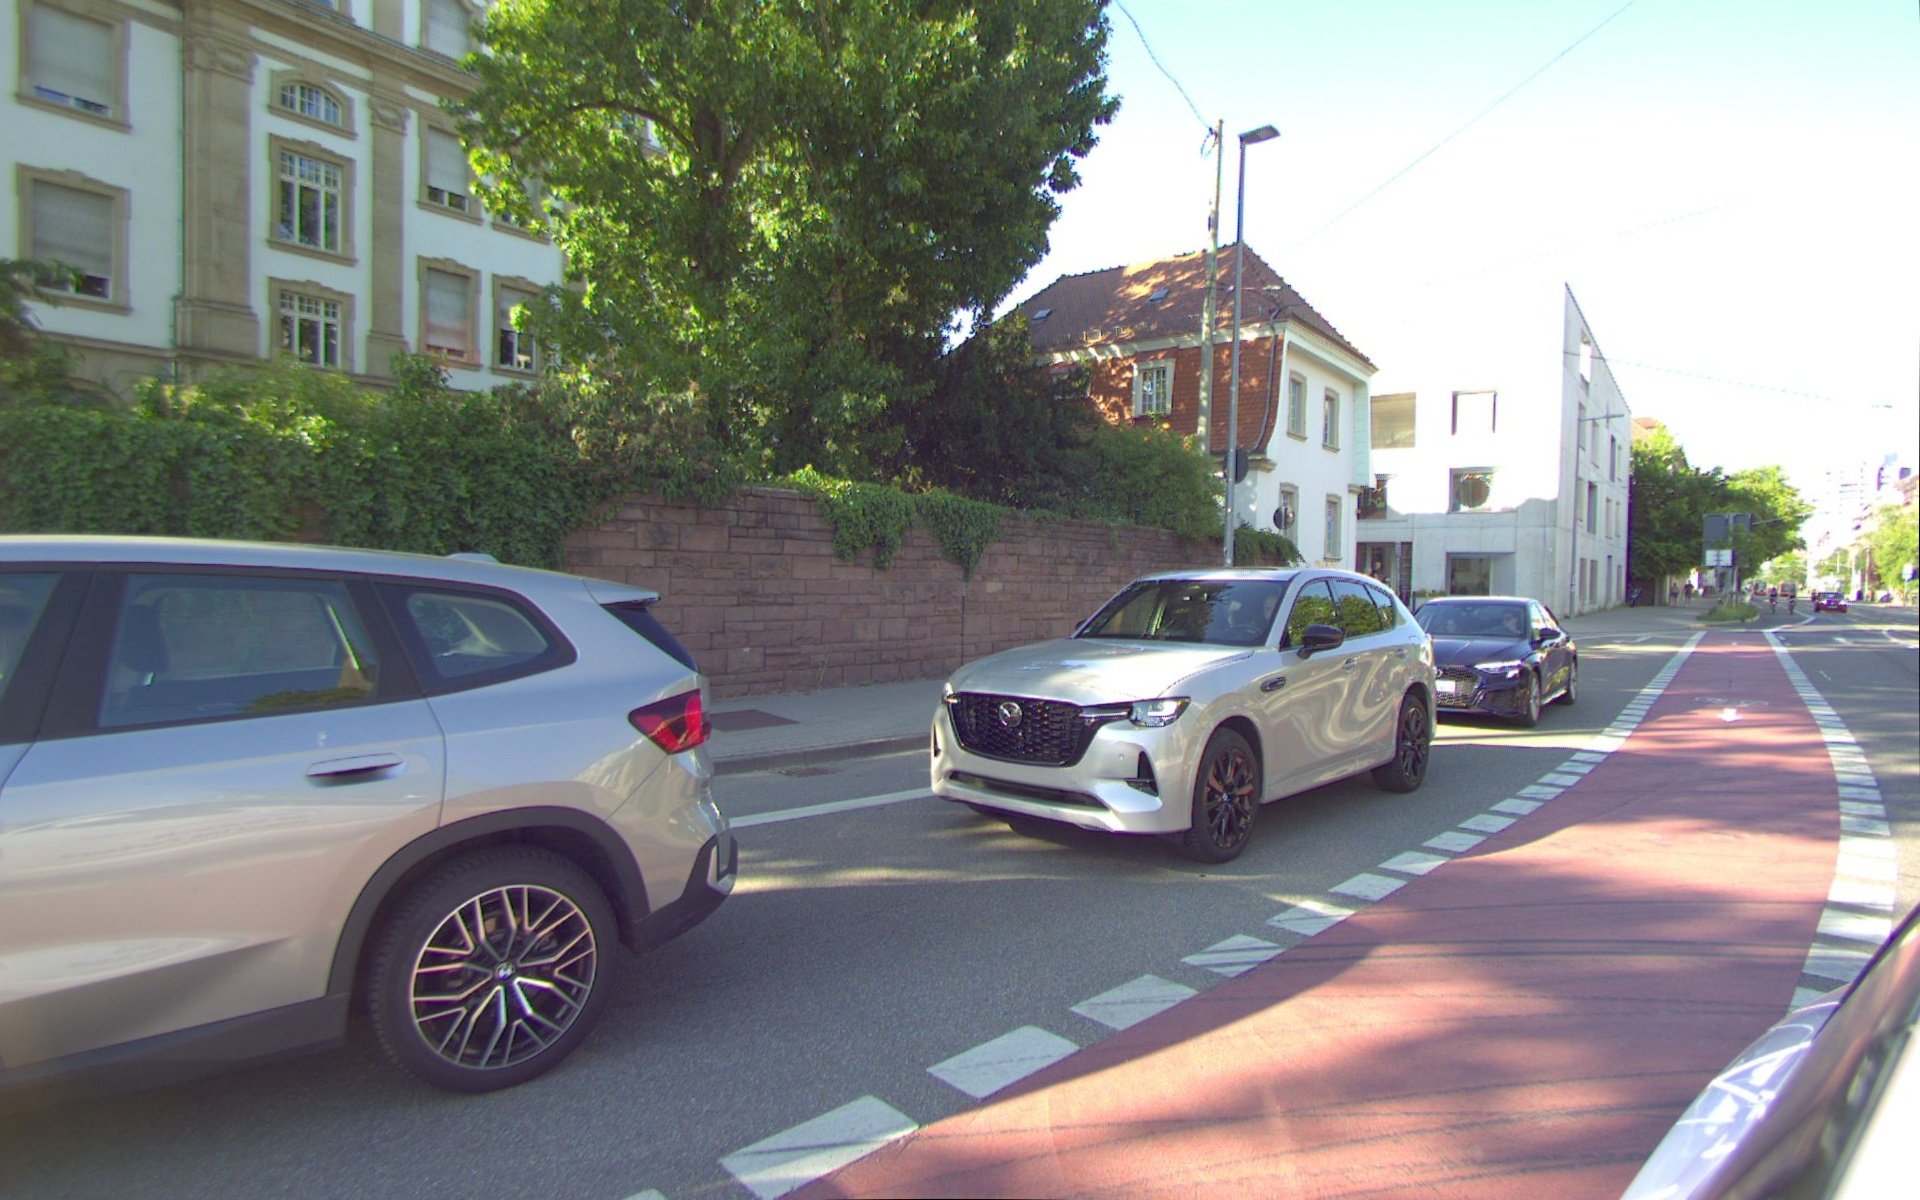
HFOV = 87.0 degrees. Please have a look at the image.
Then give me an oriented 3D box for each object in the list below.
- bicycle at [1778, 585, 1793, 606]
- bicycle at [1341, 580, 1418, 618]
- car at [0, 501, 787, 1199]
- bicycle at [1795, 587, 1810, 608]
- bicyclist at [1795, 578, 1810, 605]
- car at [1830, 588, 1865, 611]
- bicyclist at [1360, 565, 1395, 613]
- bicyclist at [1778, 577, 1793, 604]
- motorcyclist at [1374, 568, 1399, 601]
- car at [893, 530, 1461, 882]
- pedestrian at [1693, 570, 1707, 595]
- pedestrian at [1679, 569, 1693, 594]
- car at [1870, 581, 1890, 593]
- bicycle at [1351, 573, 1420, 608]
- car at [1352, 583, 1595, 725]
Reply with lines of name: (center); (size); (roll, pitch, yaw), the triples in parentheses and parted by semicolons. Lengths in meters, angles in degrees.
bicycle: (52.436, -0.300, 64.302); (0.673, 1.265, 2.421); (2, 2, 40)
bicycle: (14.889, -0.042, 35.981); (2.437, 1.266, 0.669); (2, 2, 32)
car: (-2.828, 0.577, 2.959); (4.248, 1.614, 1.792); (0, 0, -36)
bicycle: (52.981, -0.143, 63.649); (0.673, 1.265, 2.421); (2, 2, 40)
bicyclist: (53.075, -0.568, 63.741); (0.673, 1.667, 1.014); (2, 2, 40)
car: (61.059, -0.044, 69.616); (1.644, 1.580, 3.593); (0, 0, 44)
bicyclist: (14.849, -0.388, 36.003); (1.021, 1.667, 0.668); (2, 2, 31)
bicyclist: (52.479, -0.611, 64.341); (0.673, 1.667, 1.014); (2, 2, 40)
motorcyclist: (16.673, -0.610, 39.567); (0.843, 1.266, 0.672); (2, 2, 20)
car: (1.814, 0.491, 7.229); (1.940, 1.713, 4.460); (0, 1, 44)
pedestrian: (49.324, -1.159, 67.425); (0.673, 1.668, 0.806); (1, 1, 40)
pedestrian: (48.814, -1.248, 68.064); (0.673, 1.668, 0.806); (1, 1, 40)
car: (126.669, -1.796, 139.326); (1.640, 1.580, 3.602); (0, 0, 36)
bicycle: (16.616, -0.390, 39.592); (2.426, 1.266, 0.672); (2, 2, 20)
car: (6.416, 0.526, 12.440); (1.782, 1.451, 3.941); (0, 1, 41)
